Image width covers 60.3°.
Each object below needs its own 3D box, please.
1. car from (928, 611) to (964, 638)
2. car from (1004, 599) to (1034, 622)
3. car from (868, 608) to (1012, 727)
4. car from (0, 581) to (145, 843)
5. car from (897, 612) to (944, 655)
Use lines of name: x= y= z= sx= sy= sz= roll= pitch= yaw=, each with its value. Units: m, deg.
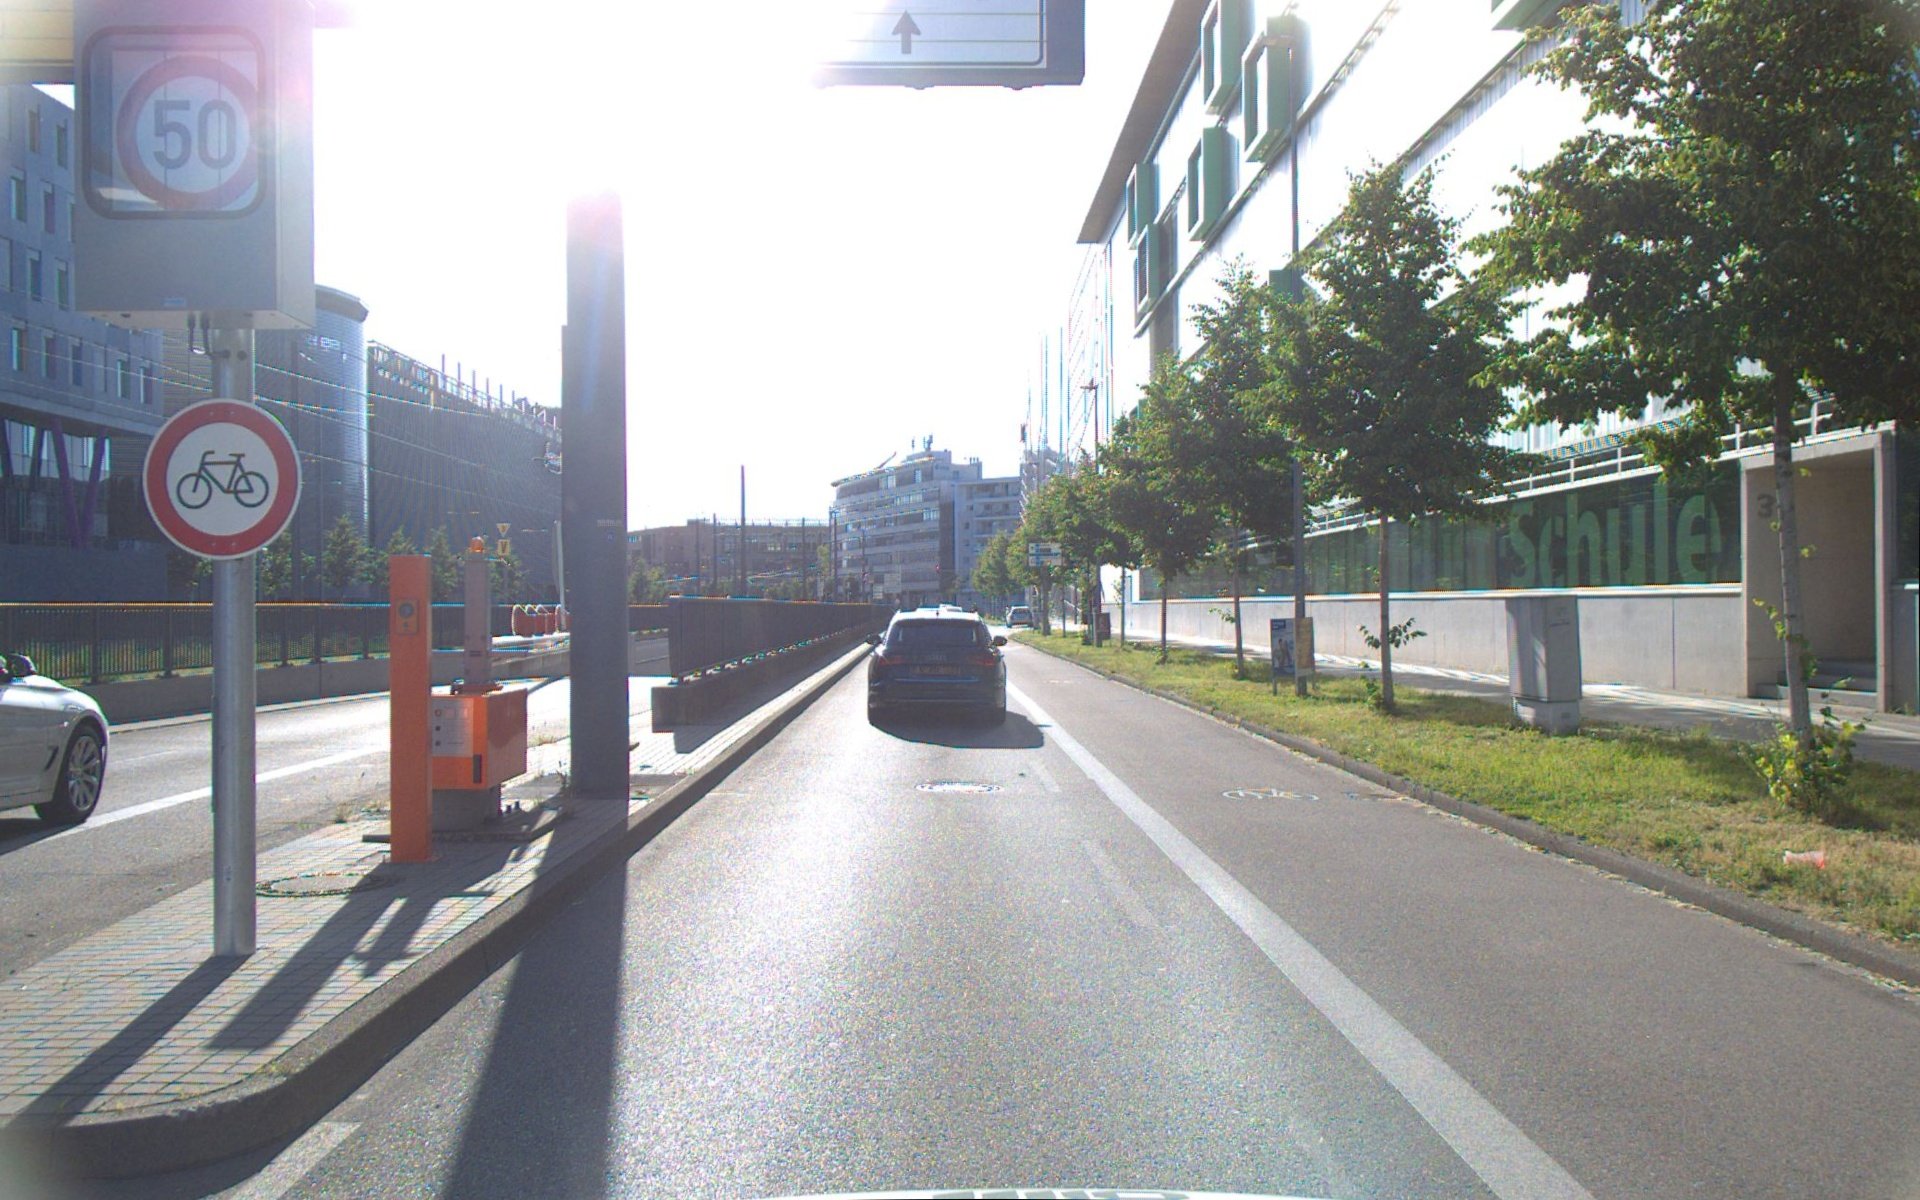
car: x=-0.867 y=1.426 z=98.874 sx=1.954 sy=1.491 sz=3.998 roll=0 pitch=1 yaw=-3
car: x=4.207 y=0.751 z=119.045 sx=1.815 sy=1.507 sz=4.852 roll=-2 pitch=0 yaw=-2
car: x=-0.303 y=0.851 z=22.941 sx=1.776 sy=1.452 sz=4.688 roll=-1 pitch=0 yaw=-2
car: x=-6.544 y=0.653 z=9.508 sx=1.764 sy=1.553 sz=4.903 roll=1 pitch=0 yaw=-7
car: x=-1.570 y=1.317 z=65.963 sx=1.815 sy=1.573 sz=3.999 roll=1 pitch=0 yaw=-2
